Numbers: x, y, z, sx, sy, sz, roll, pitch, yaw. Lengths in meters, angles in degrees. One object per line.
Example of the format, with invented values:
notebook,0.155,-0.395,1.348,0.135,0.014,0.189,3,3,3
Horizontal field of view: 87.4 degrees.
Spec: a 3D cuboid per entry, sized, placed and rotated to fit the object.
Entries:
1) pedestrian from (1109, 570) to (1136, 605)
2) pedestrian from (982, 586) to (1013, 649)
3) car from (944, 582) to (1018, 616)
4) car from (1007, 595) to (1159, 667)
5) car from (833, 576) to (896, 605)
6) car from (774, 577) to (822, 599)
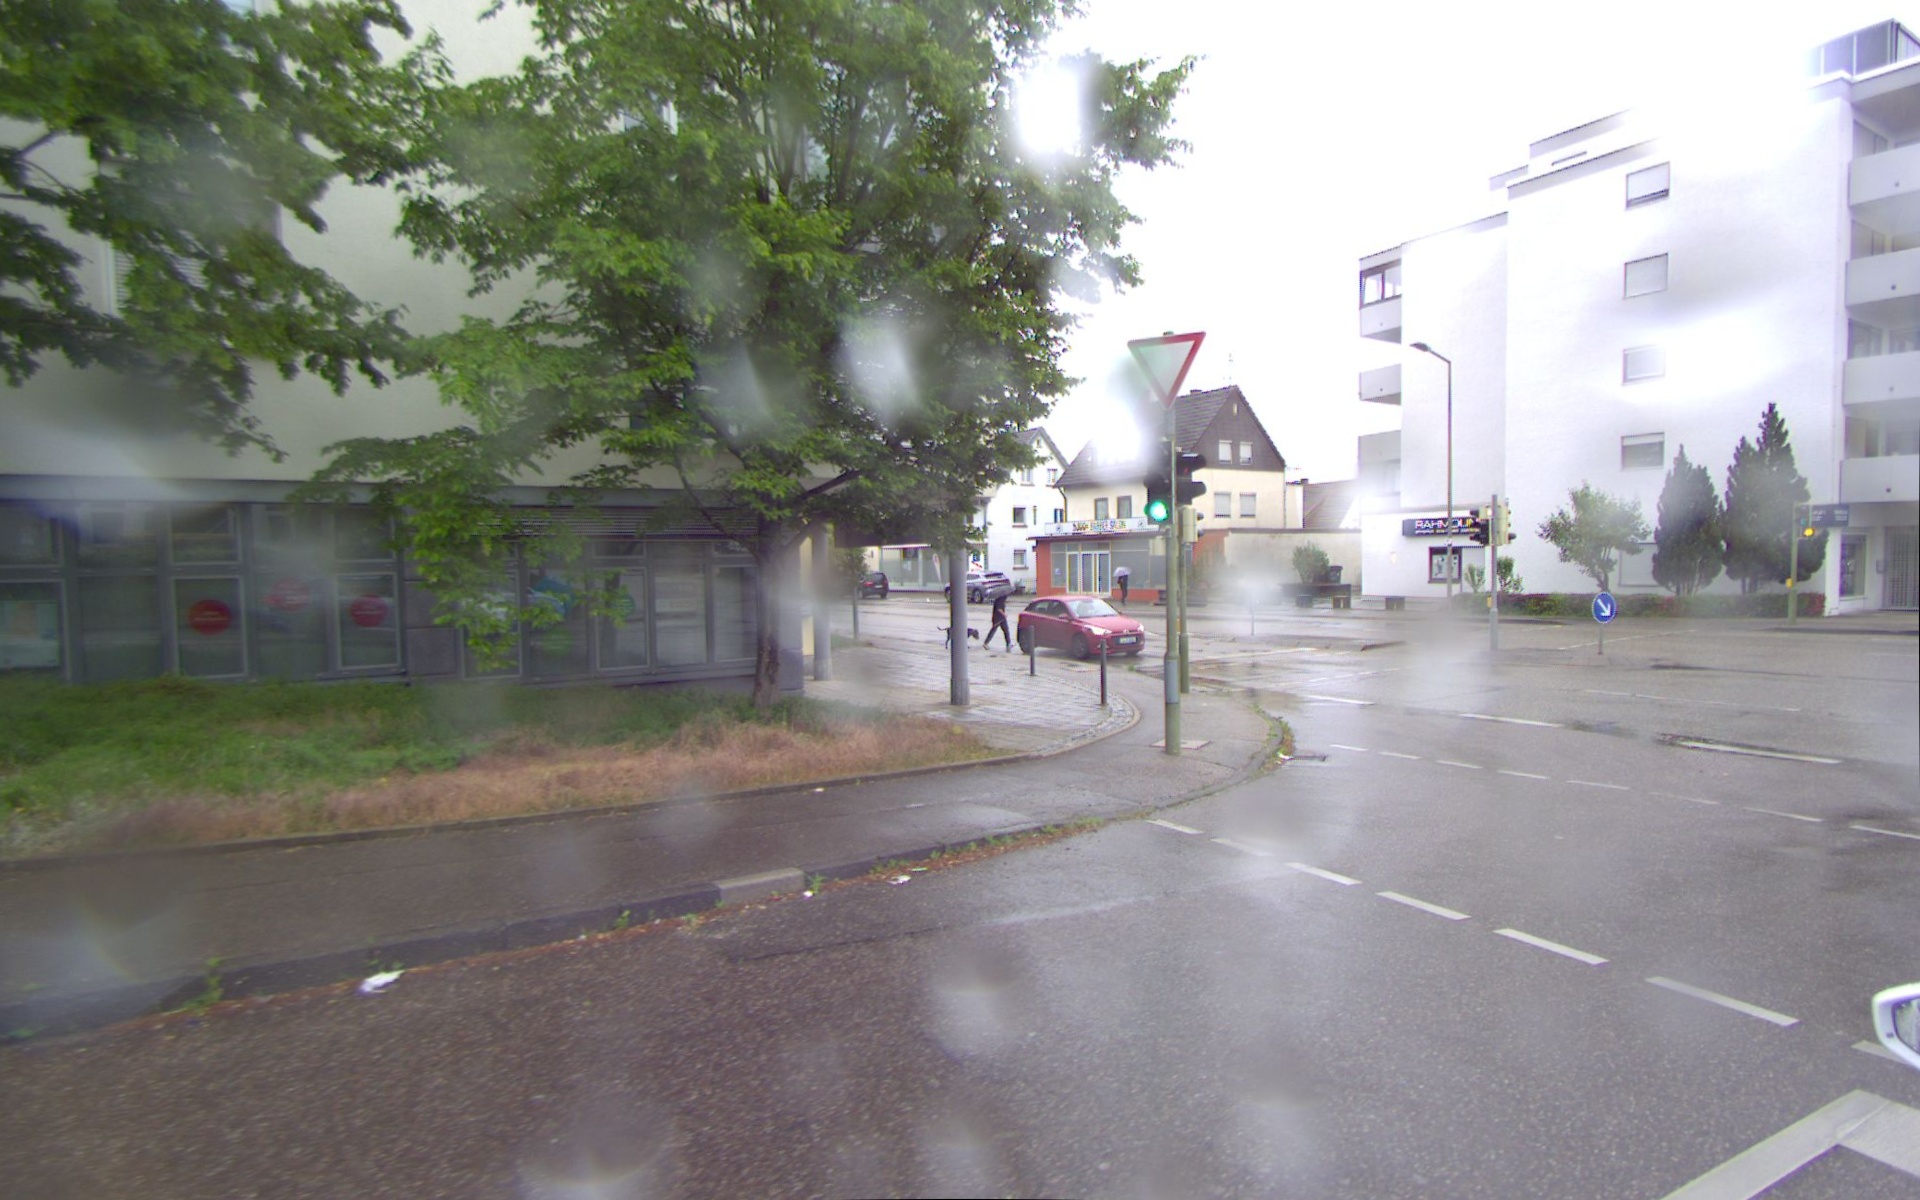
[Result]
pedestrian,7.529,-0.568,46.559,0.746,1.589,0.985,0,0,-30
pedestrian,1.042,0.475,28.025,0.657,1.725,0.945,-1,1,-11
car,1.101,-0.078,55.942,1.858,1.665,4.754,-5,3,-30
car,3.015,0.707,25.500,1.759,1.527,4.073,-5,3,-28
car,-6.341,-0.650,66.307,2.020,1.718,4.917,-5,3,-33
car,-11.986,-0.912,74.222,1.802,1.468,4.162,-5,4,-35
